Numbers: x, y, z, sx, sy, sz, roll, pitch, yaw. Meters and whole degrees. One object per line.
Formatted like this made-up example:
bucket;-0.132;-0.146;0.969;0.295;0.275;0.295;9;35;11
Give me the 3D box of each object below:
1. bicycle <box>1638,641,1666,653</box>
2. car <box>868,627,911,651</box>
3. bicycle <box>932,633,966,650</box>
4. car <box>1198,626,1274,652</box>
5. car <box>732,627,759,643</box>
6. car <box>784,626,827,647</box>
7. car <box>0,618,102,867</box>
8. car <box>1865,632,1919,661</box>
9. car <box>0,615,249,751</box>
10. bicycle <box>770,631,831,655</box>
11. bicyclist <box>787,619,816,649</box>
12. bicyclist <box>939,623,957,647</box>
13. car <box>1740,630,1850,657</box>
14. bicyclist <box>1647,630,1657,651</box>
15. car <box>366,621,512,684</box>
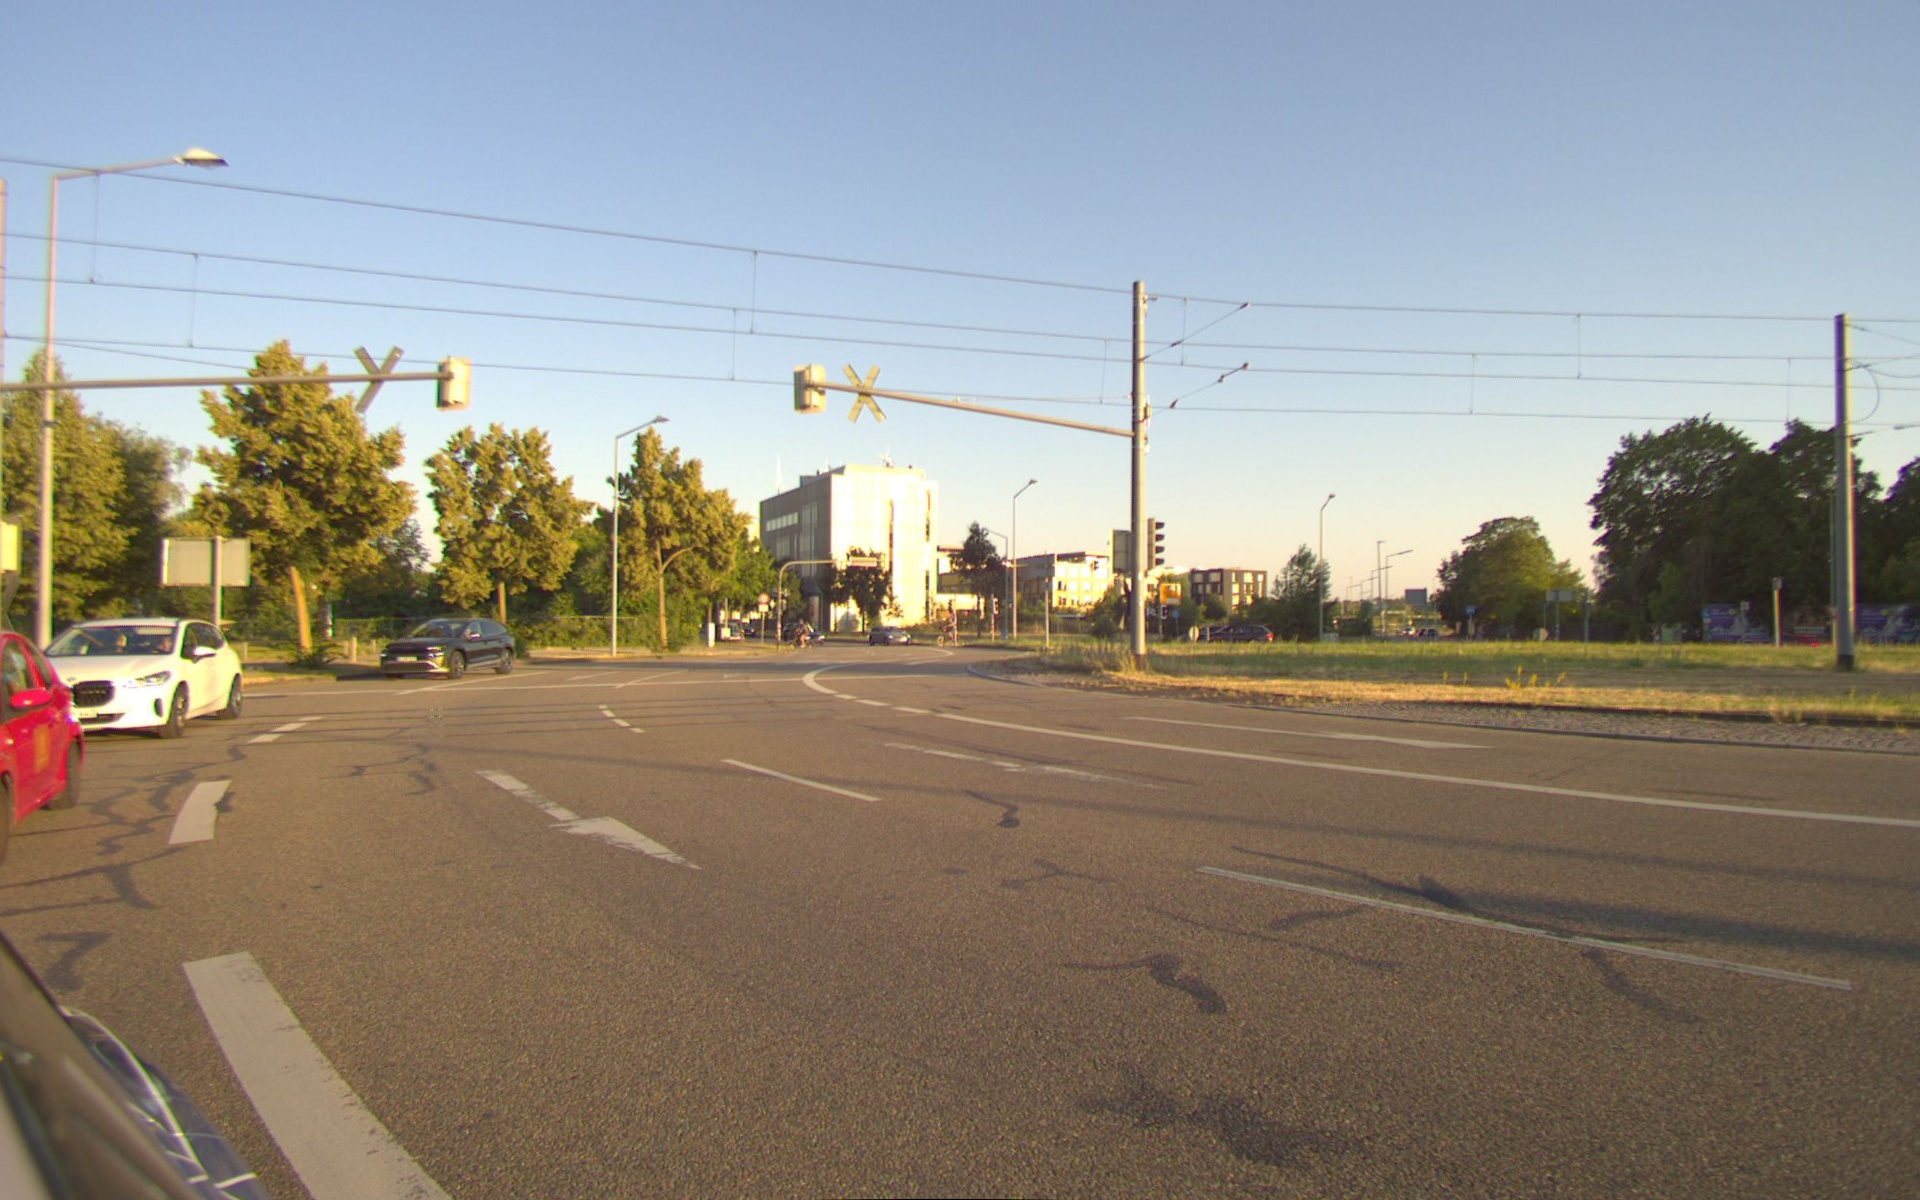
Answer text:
bicycle;45.664;3.090;66.789;1.408;0.797;0.470;-1;-2;20
car;-5.044;2.772;72.083;1.840;1.637;4.206;1;-1;-22
bicycle;-0.734;2.837;69.559;2.289;1.188;0.813;1;-2;-32
car;16.304;2.300;59.807;4.223;1.512;1.829;-1;-2;21
car;-22.479;3.650;106.031;1.841;1.637;4.206;1;-1;-26
car;-12.170;2.847;79.677;1.841;1.637;4.205;1;-1;-32
car;-6.990;0.880;6.534;1.666;1.432;4.222;-1;-1;-33
car;48.469;2.339;50.713;1.913;1.443;4.329;0;-2;-10
car;-11.349;1.033;13.862;1.730;1.570;4.228;1;-2;-23
bicycle;-9.475;2.555;60.256;3.479;1.406;1.127;1;-2;-33
bicyclist;-9.432;2.026;60.277;1.393;1.762;1.127;1;-2;-33
bicyclist;-0.823;2.422;69.521;0.984;1.645;0.813;1;-2;-32
car;47.221;2.466;57.372;1.913;1.443;4.604;0;-2;-10
bicyclist;45.668;2.673;66.787;0.444;1.408;0.471;-1;-2;20
car;-13.950;1.374;27.401;1.802;1.570;4.214;0;-2;0
